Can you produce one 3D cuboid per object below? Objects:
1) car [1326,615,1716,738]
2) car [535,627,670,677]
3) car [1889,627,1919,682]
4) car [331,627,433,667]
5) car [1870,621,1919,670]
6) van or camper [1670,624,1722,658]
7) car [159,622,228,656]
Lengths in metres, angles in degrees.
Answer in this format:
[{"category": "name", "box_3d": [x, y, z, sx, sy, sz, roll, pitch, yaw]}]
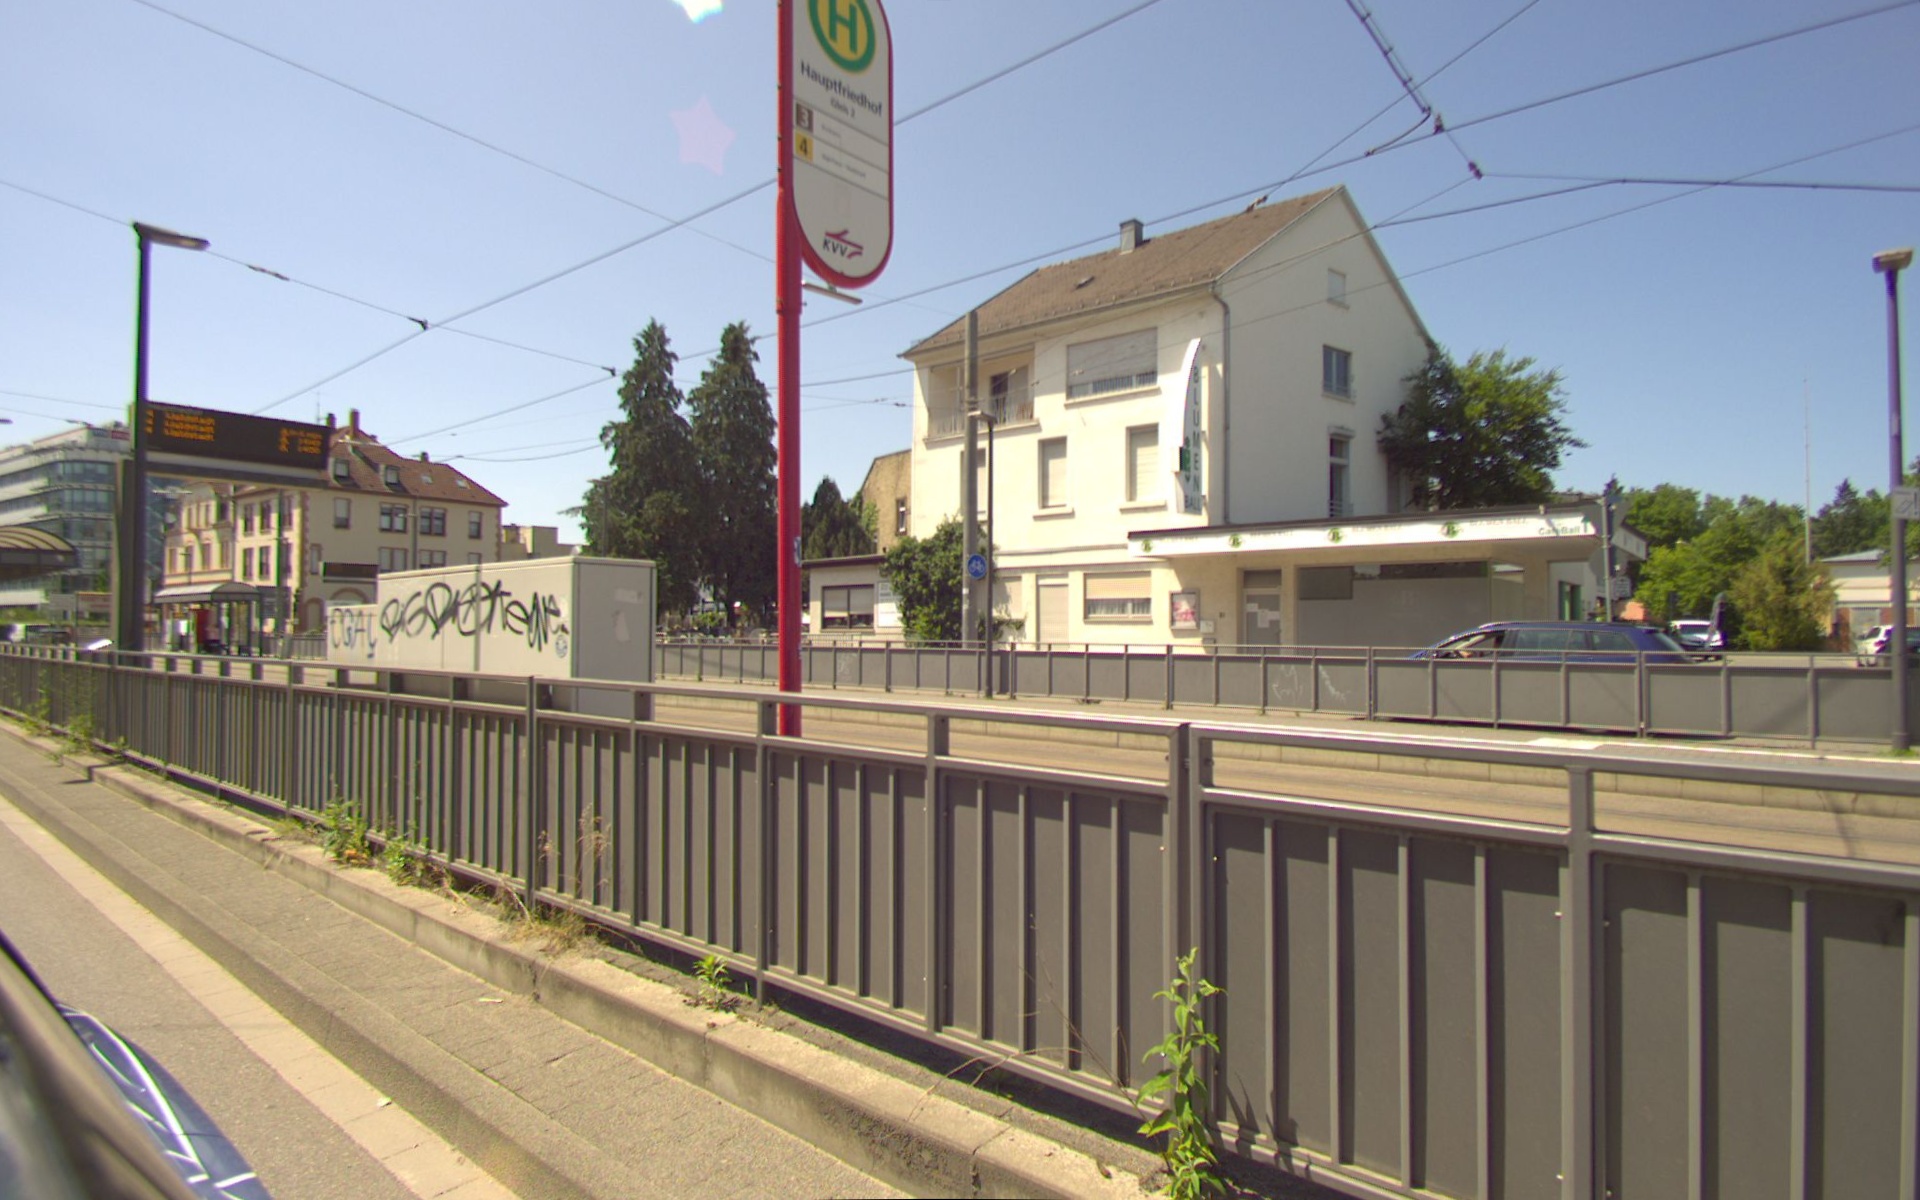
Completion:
[{"category": "car", "box_3d": [7.673, 0.969, 14.128, 4.476, 1.453, 1.837, -2, -2, 41]}, {"category": "car", "box_3d": [-10.682, 1.520, 30.105, 4.169, 1.406, 1.801, -1, -3, 38]}, {"category": "car", "box_3d": [25.625, 1.438, 26.616, 1.644, 1.381, 3.760, -2, -3, 42]}, {"category": "car", "box_3d": [-22.694, 1.826, 39.675, 4.616, 1.479, 1.801, -1, -3, 37]}, {"category": "car", "box_3d": [29.589, 1.418, 31.589, 1.644, 1.457, 3.761, -2, -3, 41]}, {"category": "van or camper", "box_3d": [34.697, 1.911, 47.776, 1.686, 1.578, 3.784, -1, -2, 32]}, {"category": "car", "box_3d": [-42.823, 2.162, 56.509, 4.691, 1.831, 1.838, -1, -3, 38]}]
